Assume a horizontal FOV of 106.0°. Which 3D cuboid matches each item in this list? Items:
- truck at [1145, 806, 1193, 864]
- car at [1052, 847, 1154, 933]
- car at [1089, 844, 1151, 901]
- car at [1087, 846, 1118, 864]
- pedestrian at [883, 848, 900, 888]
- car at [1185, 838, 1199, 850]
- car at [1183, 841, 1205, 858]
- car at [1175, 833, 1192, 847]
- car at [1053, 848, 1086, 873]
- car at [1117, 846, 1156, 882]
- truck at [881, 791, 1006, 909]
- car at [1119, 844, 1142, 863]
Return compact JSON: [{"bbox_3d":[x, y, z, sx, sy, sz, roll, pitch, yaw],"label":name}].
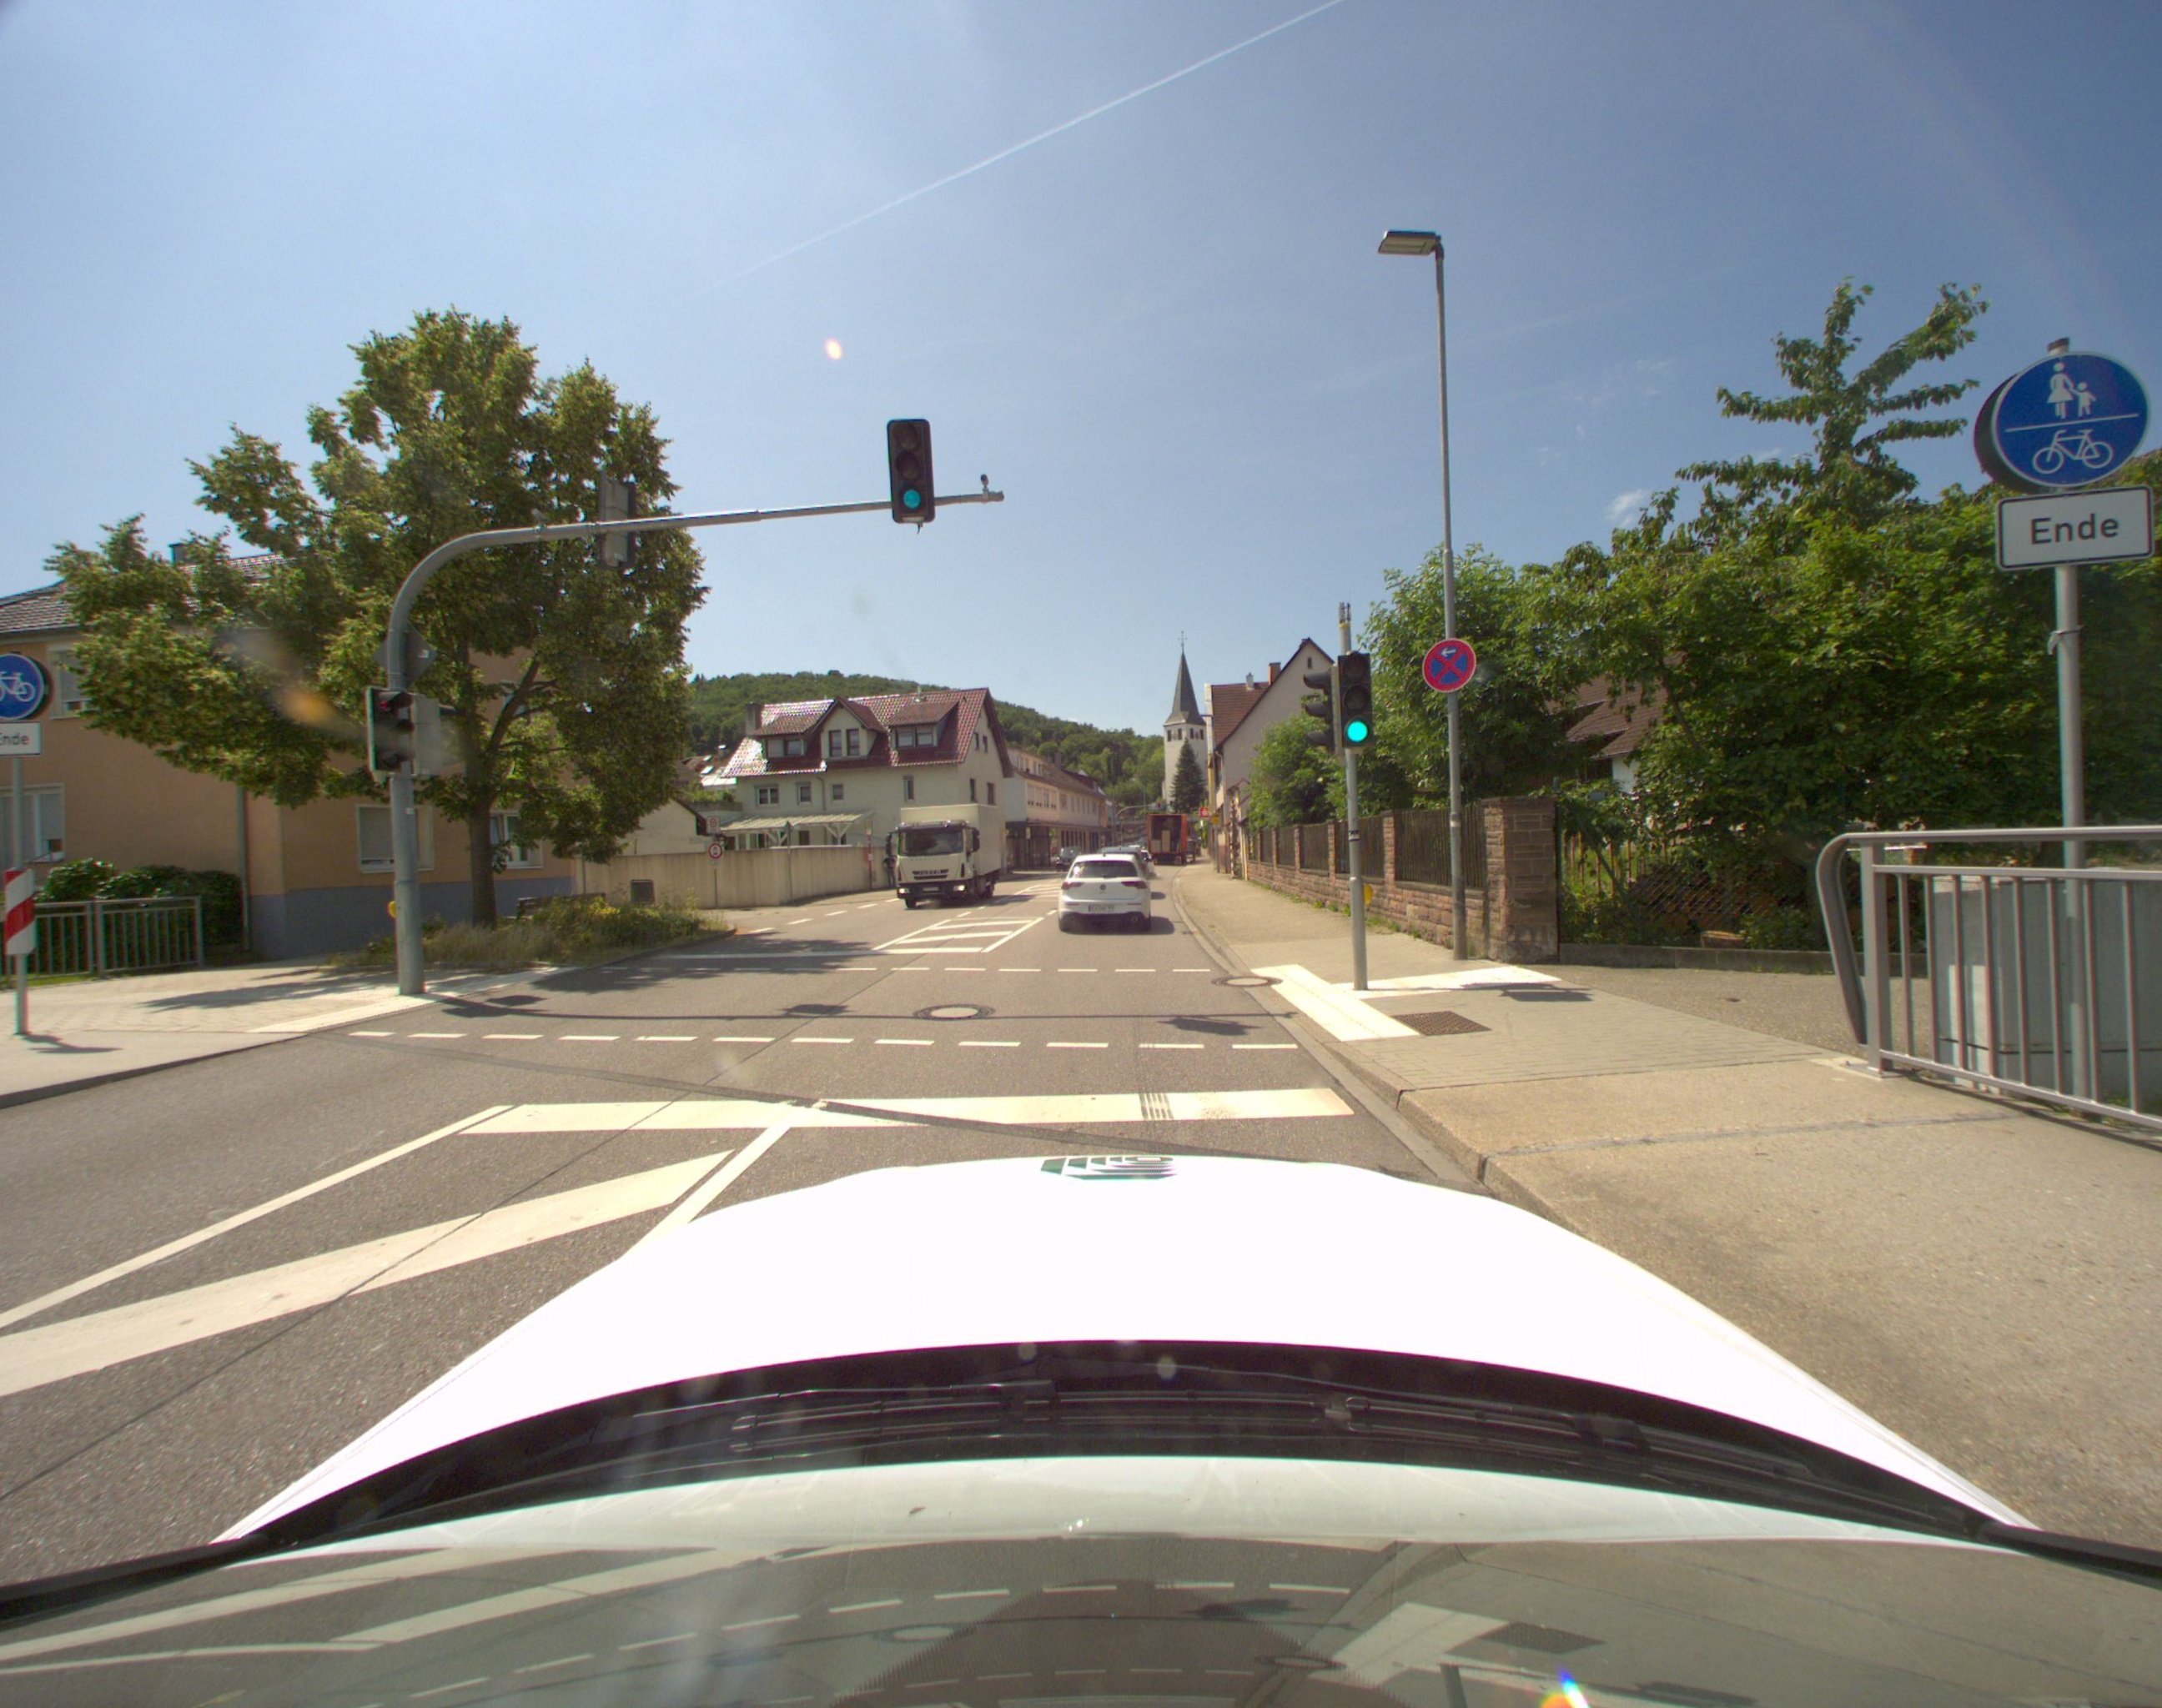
[{"bbox_3d":[7.220,-1.407,66.282,3.349,4.170,9.537,-3,0,7],"label":"truck"},{"bbox_3d":[0.546,0.659,16.661,1.807,1.519,4.005,-1,0,4],"label":"car"},{"bbox_3d":[1.351,0.575,26.758,1.807,1.628,4.005,-3,0,4],"label":"car"},{"bbox_3d":[1.957,0.096,71.964,1.850,1.442,4.232,-3,0,13],"label":"car"},{"bbox_3d":[-8.671,0.641,37.343,0.430,1.764,0.560,-3,0,23],"label":"pedestrian"},{"bbox_3d":[16.542,-1.487,121.513,1.807,1.519,4.005,-3,0,4],"label":"car"},{"bbox_3d":[11.263,-0.425,81.256,1.807,1.519,4.005,-3,0,4],"label":"car"},{"bbox_3d":[12.570,-1.747,100.455,1.807,1.519,4.005,-3,0,4],"label":"car"},{"bbox_3d":[-0.756,0.418,57.225,1.729,1.651,3.677,-2,0,8],"label":"car"},{"bbox_3d":[2.832,0.473,41.293,1.807,1.628,4.005,-3,0,4],"label":"car"},{"bbox_3d":[-4.221,-0.109,26.344,2.491,3.235,6.046,-3,0,4],"label":"truck"},{"bbox_3d":[4.210,-0.030,69.097,1.807,1.519,4.005,-3,0,4],"label":"car"}]
